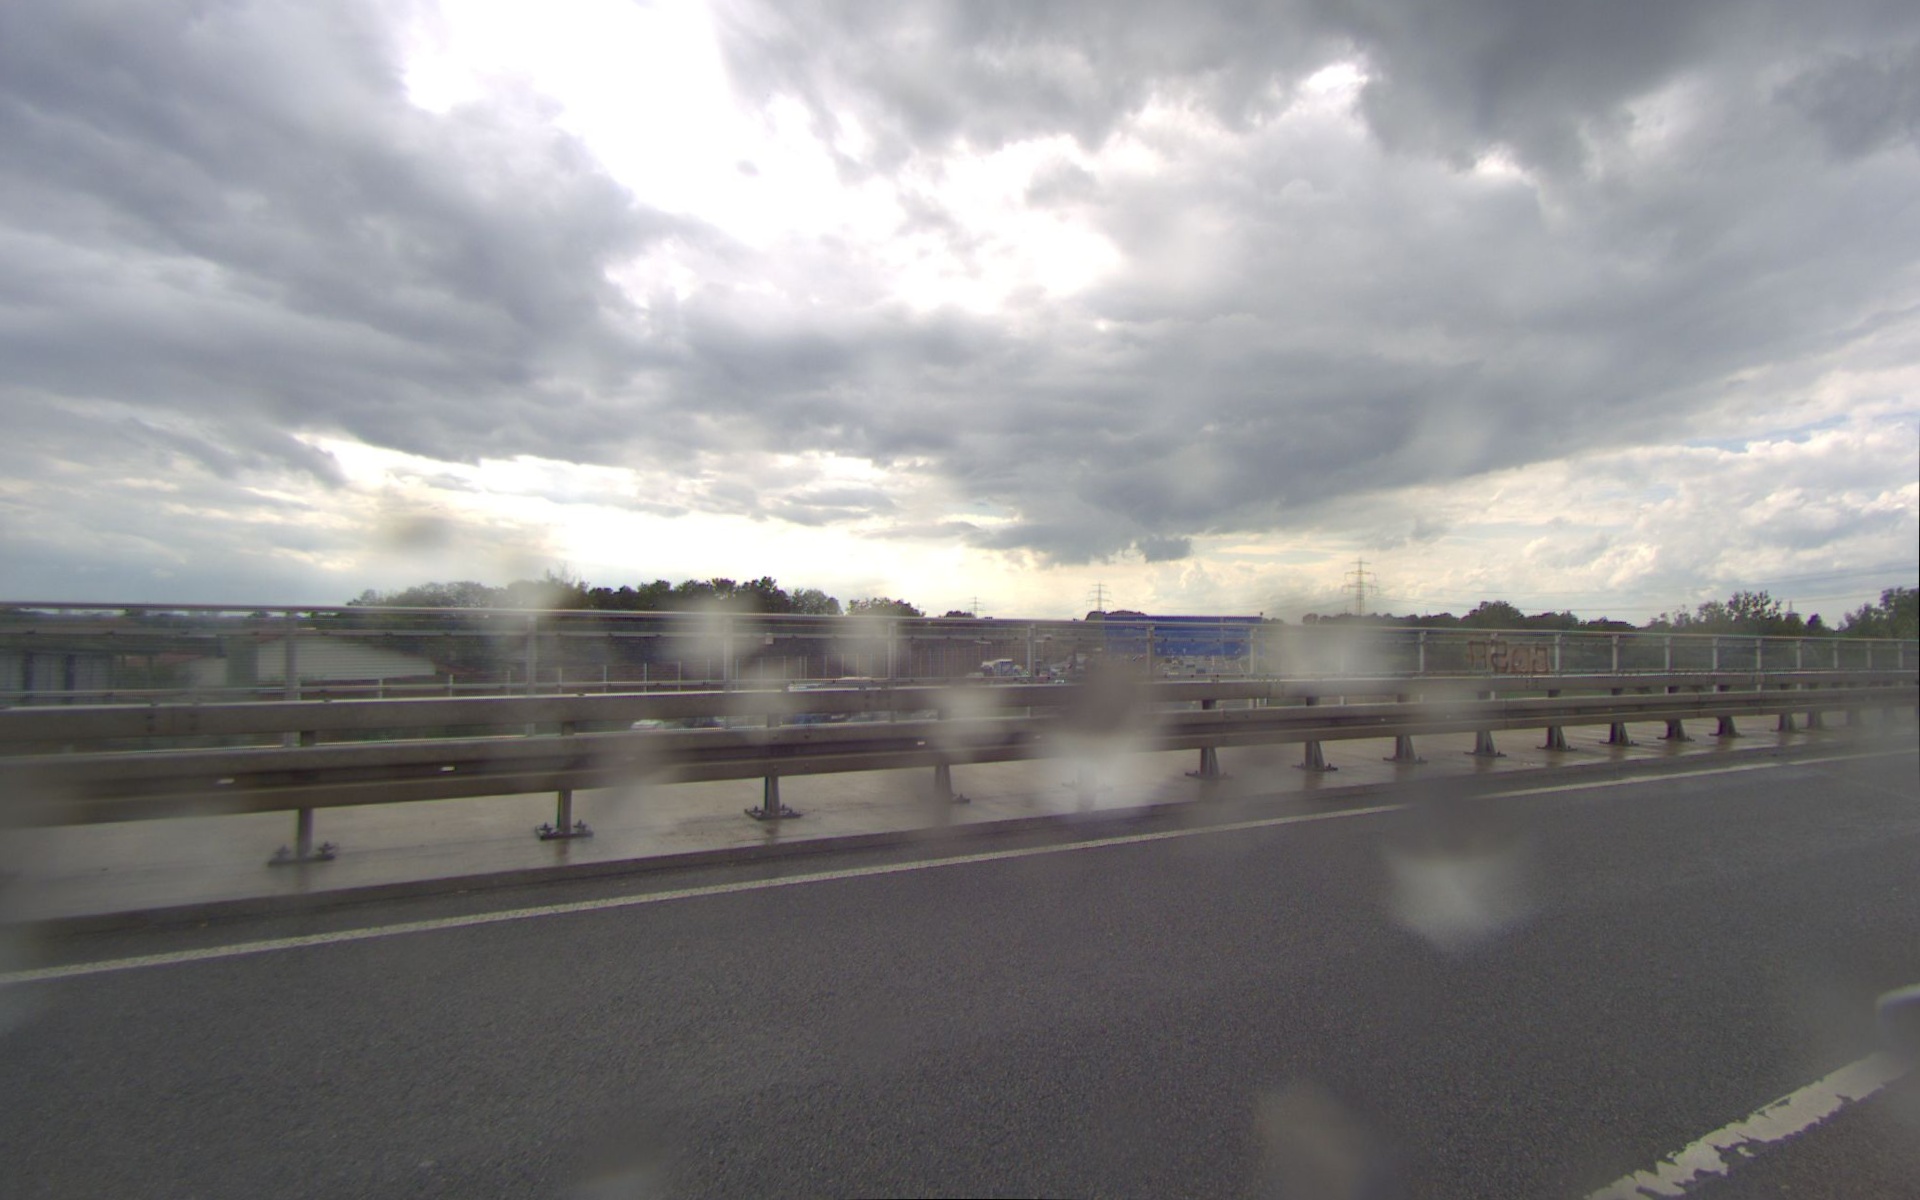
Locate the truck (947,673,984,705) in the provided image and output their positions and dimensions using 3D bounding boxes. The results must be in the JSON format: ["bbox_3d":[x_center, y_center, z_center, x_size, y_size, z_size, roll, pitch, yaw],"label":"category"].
[{"bbox_3d":[0.946,13.366,151.556,2.388,3.812,11.173,2,0,17],"label":"truck"}]

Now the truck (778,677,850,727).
[{"bbox_3d":[-14.069,9.777,97.776,2.388,3.812,11.173,2,0,17],"label":"truck"}]

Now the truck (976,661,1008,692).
[{"bbox_3d":[5.451,12.728,168.334,2.388,4.250,11.173,2,0,17],"label":"truck"}]

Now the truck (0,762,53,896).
[{"bbox_3d":[-33.961,7.680,29.534,2.388,4.055,11.173,2,0,17],"label":"truck"}]

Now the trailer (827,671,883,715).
[{"bbox_3d":[-11.144,9.854,107.678,2.388,3.812,9.461,2,0,17],"label":"trailer"}]

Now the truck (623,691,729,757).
[{"bbox_3d":[-22.092,9.621,79.145,2.388,3.812,11.173,2,0,17],"label":"truck"}]
